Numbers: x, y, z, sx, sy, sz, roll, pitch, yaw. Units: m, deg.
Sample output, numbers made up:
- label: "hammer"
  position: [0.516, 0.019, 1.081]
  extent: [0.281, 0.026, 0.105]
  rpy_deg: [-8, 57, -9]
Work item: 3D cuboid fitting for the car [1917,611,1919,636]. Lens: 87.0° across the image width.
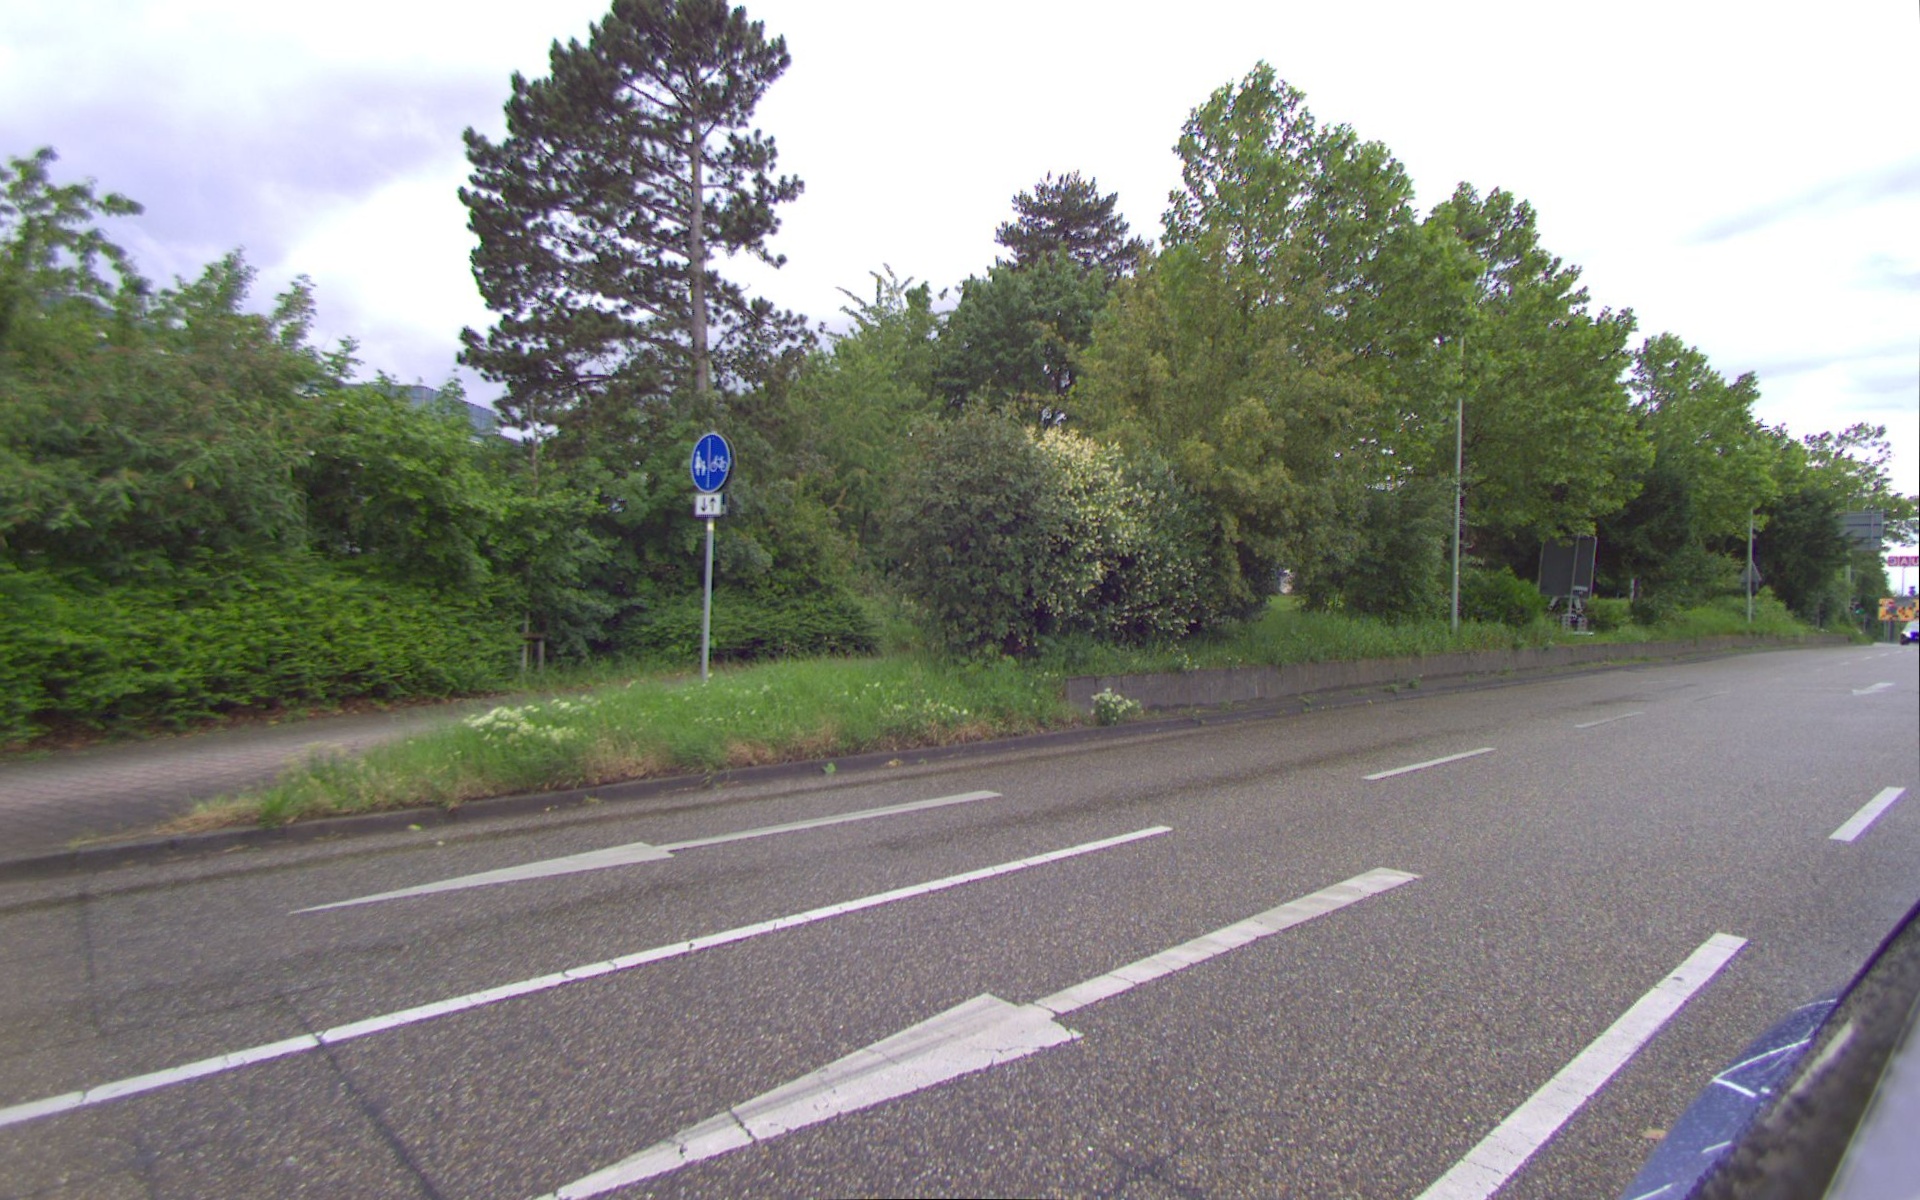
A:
- label: "car"
  position: [65.369, 1.577, 67.784]
  extent: [3.778, 1.642, 1.702]
  rpy_deg: [0, 0, -44]
